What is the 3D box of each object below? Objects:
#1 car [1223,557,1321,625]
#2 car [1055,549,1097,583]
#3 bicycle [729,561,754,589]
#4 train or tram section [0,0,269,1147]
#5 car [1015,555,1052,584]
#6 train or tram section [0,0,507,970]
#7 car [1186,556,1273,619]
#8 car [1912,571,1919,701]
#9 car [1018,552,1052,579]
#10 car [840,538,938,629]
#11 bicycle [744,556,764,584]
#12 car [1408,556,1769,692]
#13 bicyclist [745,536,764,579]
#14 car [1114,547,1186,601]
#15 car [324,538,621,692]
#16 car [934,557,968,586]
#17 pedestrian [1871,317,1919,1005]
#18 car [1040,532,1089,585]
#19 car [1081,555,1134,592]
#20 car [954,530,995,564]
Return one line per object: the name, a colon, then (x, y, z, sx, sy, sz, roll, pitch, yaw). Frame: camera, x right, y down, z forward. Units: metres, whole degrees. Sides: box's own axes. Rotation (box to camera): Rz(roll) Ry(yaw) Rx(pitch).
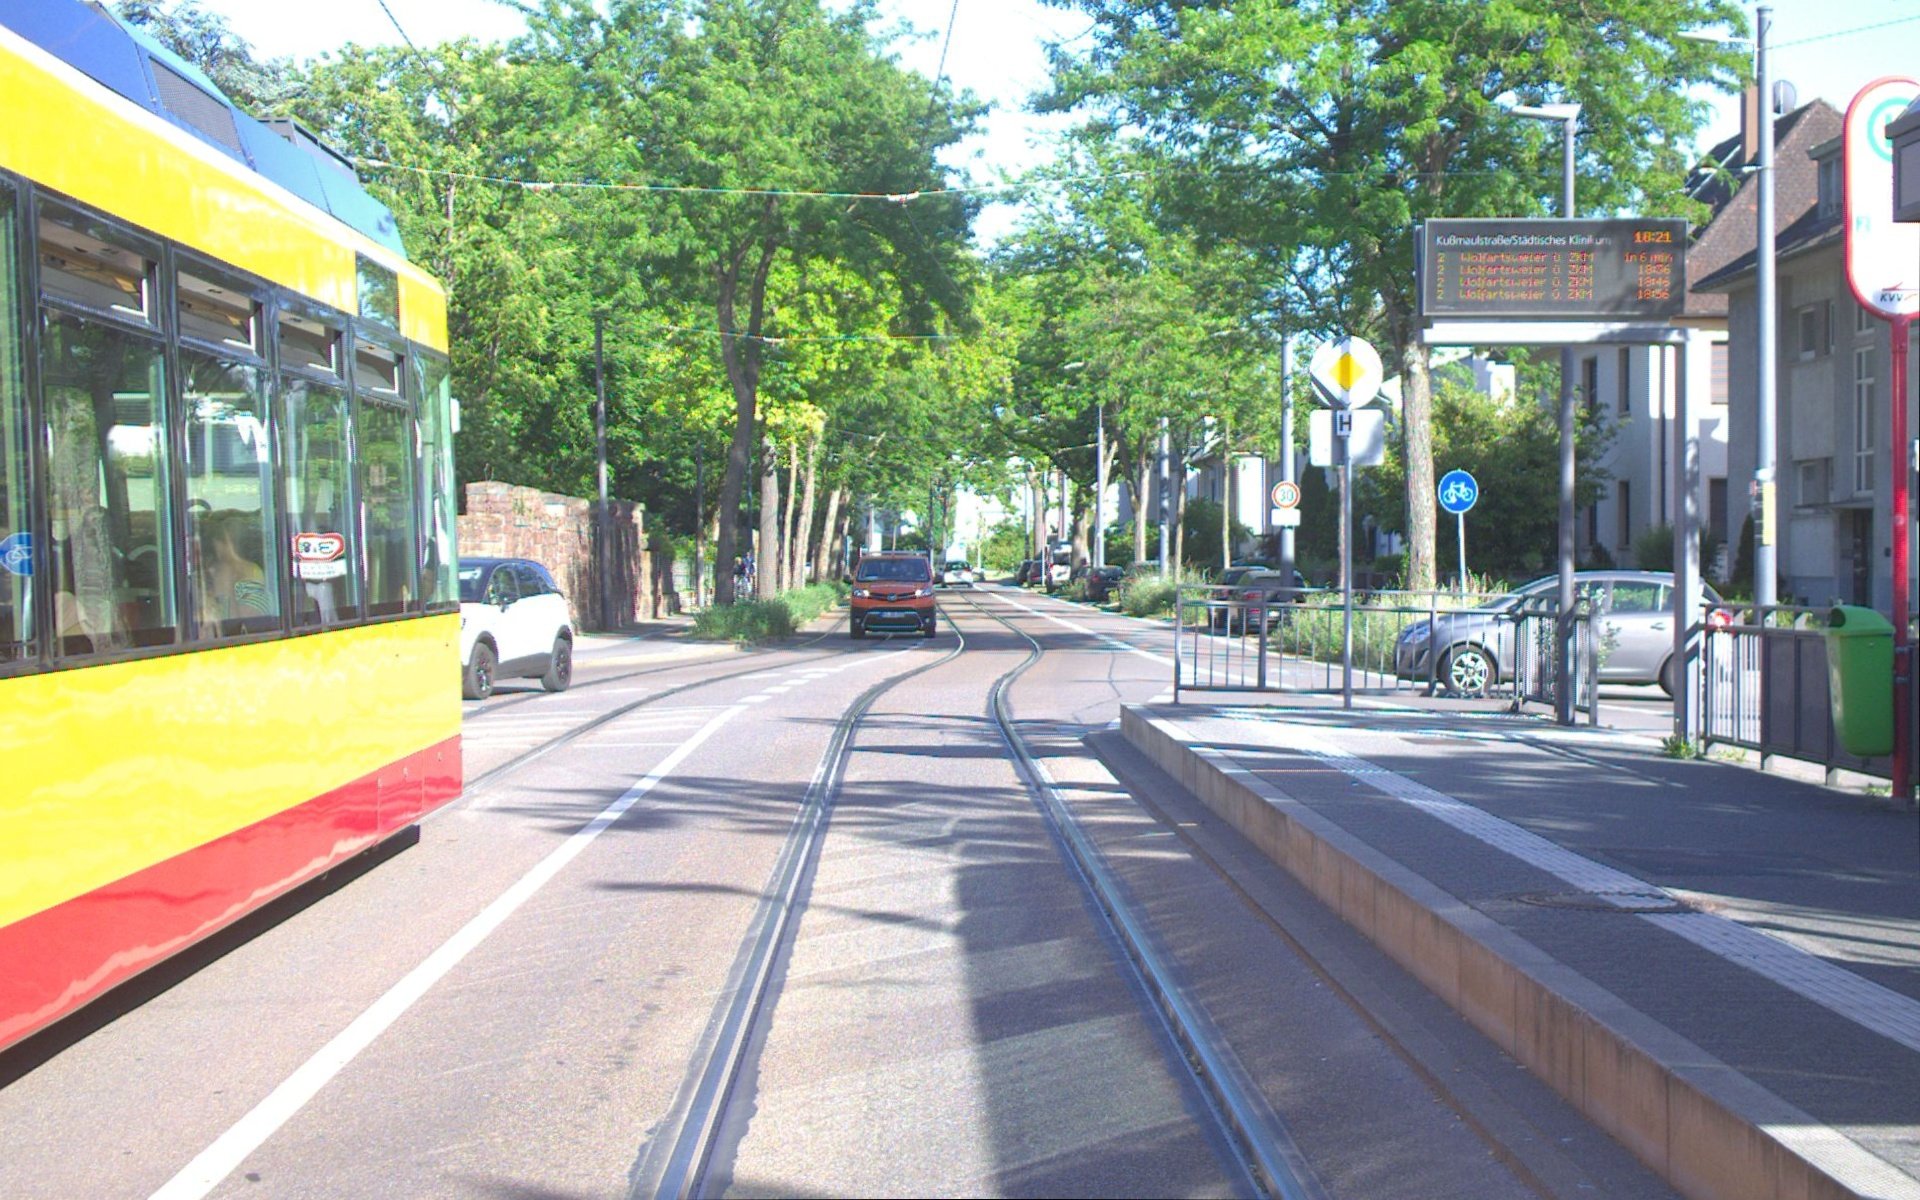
car: (7.115, -0.231, 78.651, 1.748, 1.490, 4.443, -1, 1, -1)
car: (5.157, -1.522, 153.561, 1.627, 1.393, 3.646, -3, 1, -1)
bicycle: (-7.479, -0.862, 117.656, 0.711, 0.957, 2.094, 0, 1, 0)
train or tram section: (-3.705, -0.415, 8.258, 2.803, 3.448, 6.669, 0, 1, -1)
car: (4.390, -1.829, 206.954, 2.003, 1.669, 4.392, -2, 1, -1)
train or tram section: (-3.783, -0.531, 14.955, 2.803, 3.448, 6.669, 0, 1, -1)
car: (6.610, -0.327, 84.653, 1.748, 1.490, 3.997, -1, 1, -1)
car: (13.033, 0.395, 38.173, 4.605, 1.461, 1.981, 0, -1, 11)
car: (4.889, -2.277, 224.461, 2.003, 1.669, 4.392, -2, 1, 3)
car: (-1.627, -0.392, 77.005, 1.993, 1.959, 4.934, 0, 1, -3)
bicycle: (-7.309, -1.065, 121.934, 0.589, 0.957, 2.132, 0, 1, 0)
car: (7.226, 0.253, 39.737, 3.988, 1.503, 1.981, 0, 1, 9)
bicyclist: (-7.308, -1.510, 122.135, 0.593, 1.522, 1.061, 0, 1, 0)
car: (6.455, -0.907, 117.362, 1.993, 1.698, 4.478, -3, 1, -2)
car: (-5.497, 0.131, 39.317, 1.766, 1.658, 4.207, 0, 1, 17)
car: (-0.535, -1.698, 202.961, 1.866, 1.669, 4.173, -1, 1, 2)
pedestrian: (2.943, 0.164, 9.324, 0.711, 1.847, 0.729, 1, 1, 1)
car: (5.302, -2.126, 174.963, 2.245, 2.645, 5.585, 0, 1, -1)
car: (6.140, -1.123, 143.833, 1.784, 1.443, 4.301, -3, 1, -2)
car: (1.075, -3.870, 253.360, 1.993, 2.450, 4.510, -1, 1, -14)
